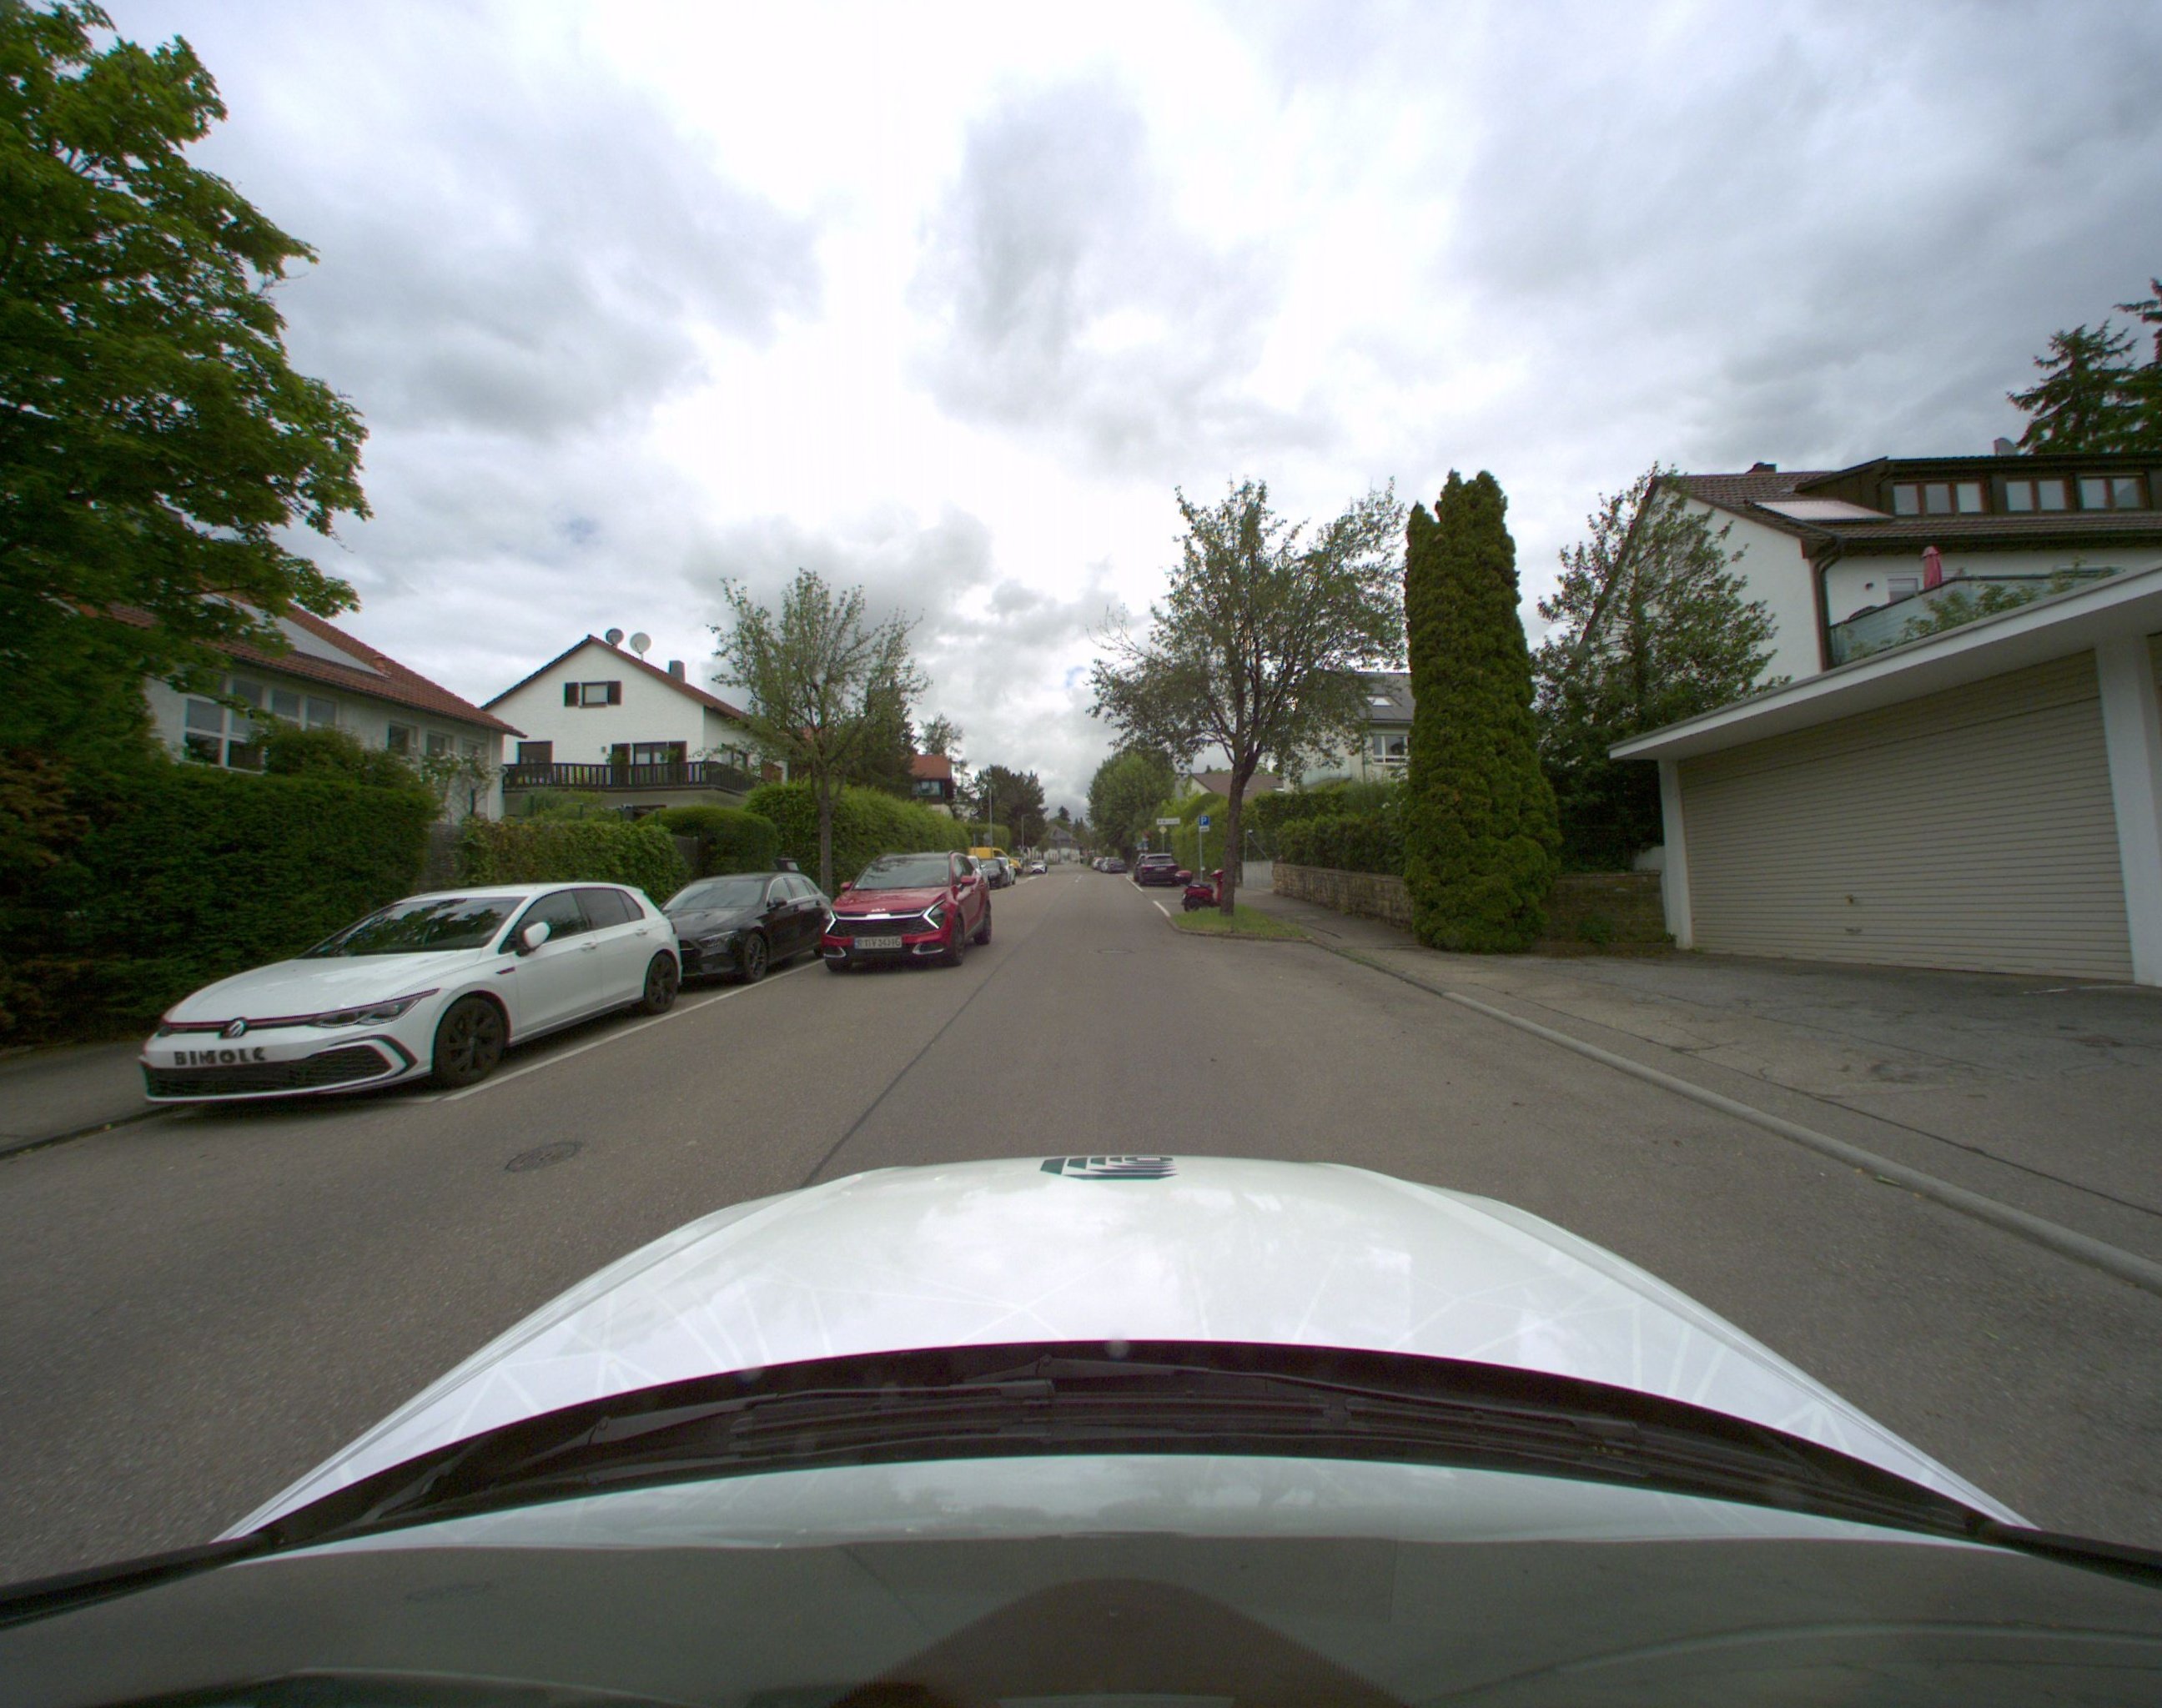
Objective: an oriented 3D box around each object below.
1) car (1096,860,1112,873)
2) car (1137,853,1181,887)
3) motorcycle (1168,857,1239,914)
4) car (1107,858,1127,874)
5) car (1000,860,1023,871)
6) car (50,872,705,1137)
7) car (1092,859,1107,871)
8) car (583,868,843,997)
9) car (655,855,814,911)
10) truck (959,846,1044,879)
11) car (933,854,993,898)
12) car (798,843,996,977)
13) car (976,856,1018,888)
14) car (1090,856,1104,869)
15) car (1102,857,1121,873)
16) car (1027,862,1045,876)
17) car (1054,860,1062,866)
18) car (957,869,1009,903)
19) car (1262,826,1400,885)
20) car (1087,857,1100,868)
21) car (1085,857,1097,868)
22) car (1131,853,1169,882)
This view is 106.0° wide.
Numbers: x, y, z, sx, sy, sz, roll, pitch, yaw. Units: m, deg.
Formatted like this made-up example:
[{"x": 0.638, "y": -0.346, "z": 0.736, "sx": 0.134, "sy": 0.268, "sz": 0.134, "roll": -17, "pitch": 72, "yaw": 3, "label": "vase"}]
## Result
[{"x": 2.720, "y": 1.474, "z": 95.908, "sx": 1.661, "sy": 1.501, "sz": 3.464, "roll": -1, "pitch": 0, "yaw": -3, "label": "car"}, {"x": 3.645, "y": 0.704, "z": 38.720, "sx": 1.875, "sy": 1.533, "sz": 4.478, "roll": 0, "pitch": 0, "yaw": 2, "label": "car"}, {"x": 3.139, "y": 0.782, "z": 20.796, "sx": 1.876, "sy": 1.346, "sz": 0.593, "roll": -2, "pitch": 0, "yaw": -35, "label": "motorcycle"}, {"x": 3.595, "y": 1.161, "z": 81.818, "sx": 1.661, "sy": 1.501, "sz": 3.464, "roll": -1, "pitch": 0, "yaw": -3, "label": "car"}, {"x": -11.886, "y": 1.964, "z": 139.212, "sx": 3.840, "sy": 1.737, "sz": 1.638, "roll": -1, "pitch": 0, "yaw": -7, "label": "car"}, {"x": -5.304, "y": 0.965, "z": 7.166, "sx": 1.831, "sy": 1.422, "sz": 4.408, "roll": -3, "pitch": 0, "yaw": 1, "label": "car"}, {"x": 2.445, "y": 1.370, "z": 106.479, "sx": 1.661, "sy": 1.501, "sz": 3.464, "roll": -1, "pitch": 0, "yaw": -3, "label": "car"}, {"x": -4.970, "y": 0.964, "z": 11.713, "sx": 1.721, "sy": 1.423, "sz": 4.081, "roll": -3, "pitch": -1, "yaw": 2, "label": "car"}, {"x": -10.284, "y": 0.830, "z": 24.335, "sx": 3.968, "sy": 1.533, "sz": 1.790, "roll": 1, "pitch": 0, "yaw": 5, "label": "car"}, {"x": -6.012, "y": 0.638, "z": 61.493, "sx": 5.945, "sy": 2.309, "sz": 2.809, "roll": 0, "pitch": -4, "yaw": -17, "label": "truck"}, {"x": -4.524, "y": 0.795, "z": 31.737, "sx": 1.717, "sy": 1.540, "sz": 3.998, "roll": -3, "pitch": 0, "yaw": -1, "label": "car"}, {"x": -2.629, "y": 0.736, "z": 12.773, "sx": 1.934, "sy": 1.647, "sz": 4.259, "roll": -3, "pitch": 0, "yaw": 1, "label": "car"}, {"x": -4.361, "y": 0.908, "z": 42.689, "sx": 1.624, "sy": 1.523, "sz": 3.639, "roll": -3, "pitch": 0, "yaw": 1, "label": "car"}, {"x": 2.173, "y": 1.141, "z": 113.198, "sx": 1.661, "sy": 1.668, "sz": 3.464, "roll": -1, "pitch": 0, "yaw": -3, "label": "car"}, {"x": 3.242, "y": 1.133, "z": 86.598, "sx": 1.709, "sy": 1.657, "sz": 3.618, "roll": -1, "pitch": 0, "yaw": -3, "label": "car"}, {"x": -4.816, "y": 1.587, "z": 87.582, "sx": 1.664, "sy": 1.399, "sz": 3.458, "roll": -1, "pitch": 0, "yaw": -8, "label": "car"}, {"x": -5.661, "y": 2.324, "z": 202.074, "sx": 1.818, "sy": 1.420, "sz": 3.996, "roll": -1, "pitch": 0, "yaw": -3, "label": "car"}, {"x": -4.493, "y": 1.452, "z": 37.746, "sx": 1.756, "sy": 1.388, "sz": 4.000, "roll": -4, "pitch": -2, "yaw": 1, "label": "car"}, {"x": 9.143, "y": 0.059, "z": 30.071, "sx": 4.351, "sy": 1.468, "sz": 1.968, "roll": -9, "pitch": 0, "yaw": -1, "label": "car"}, {"x": 1.796, "y": 1.268, "z": 121.044, "sx": 1.661, "sy": 1.501, "sz": 3.464, "roll": -1, "pitch": 0, "yaw": -3, "label": "car"}, {"x": 1.610, "y": 1.256, "z": 128.659, "sx": 1.640, "sy": 1.668, "sz": 3.464, "roll": -1, "pitch": 0, "yaw": -3, "label": "car"}, {"x": 3.741, "y": 0.698, "z": 44.493, "sx": 1.875, "sy": 1.533, "sz": 4.478, "roll": 0, "pitch": 0, "yaw": 2, "label": "car"}]
